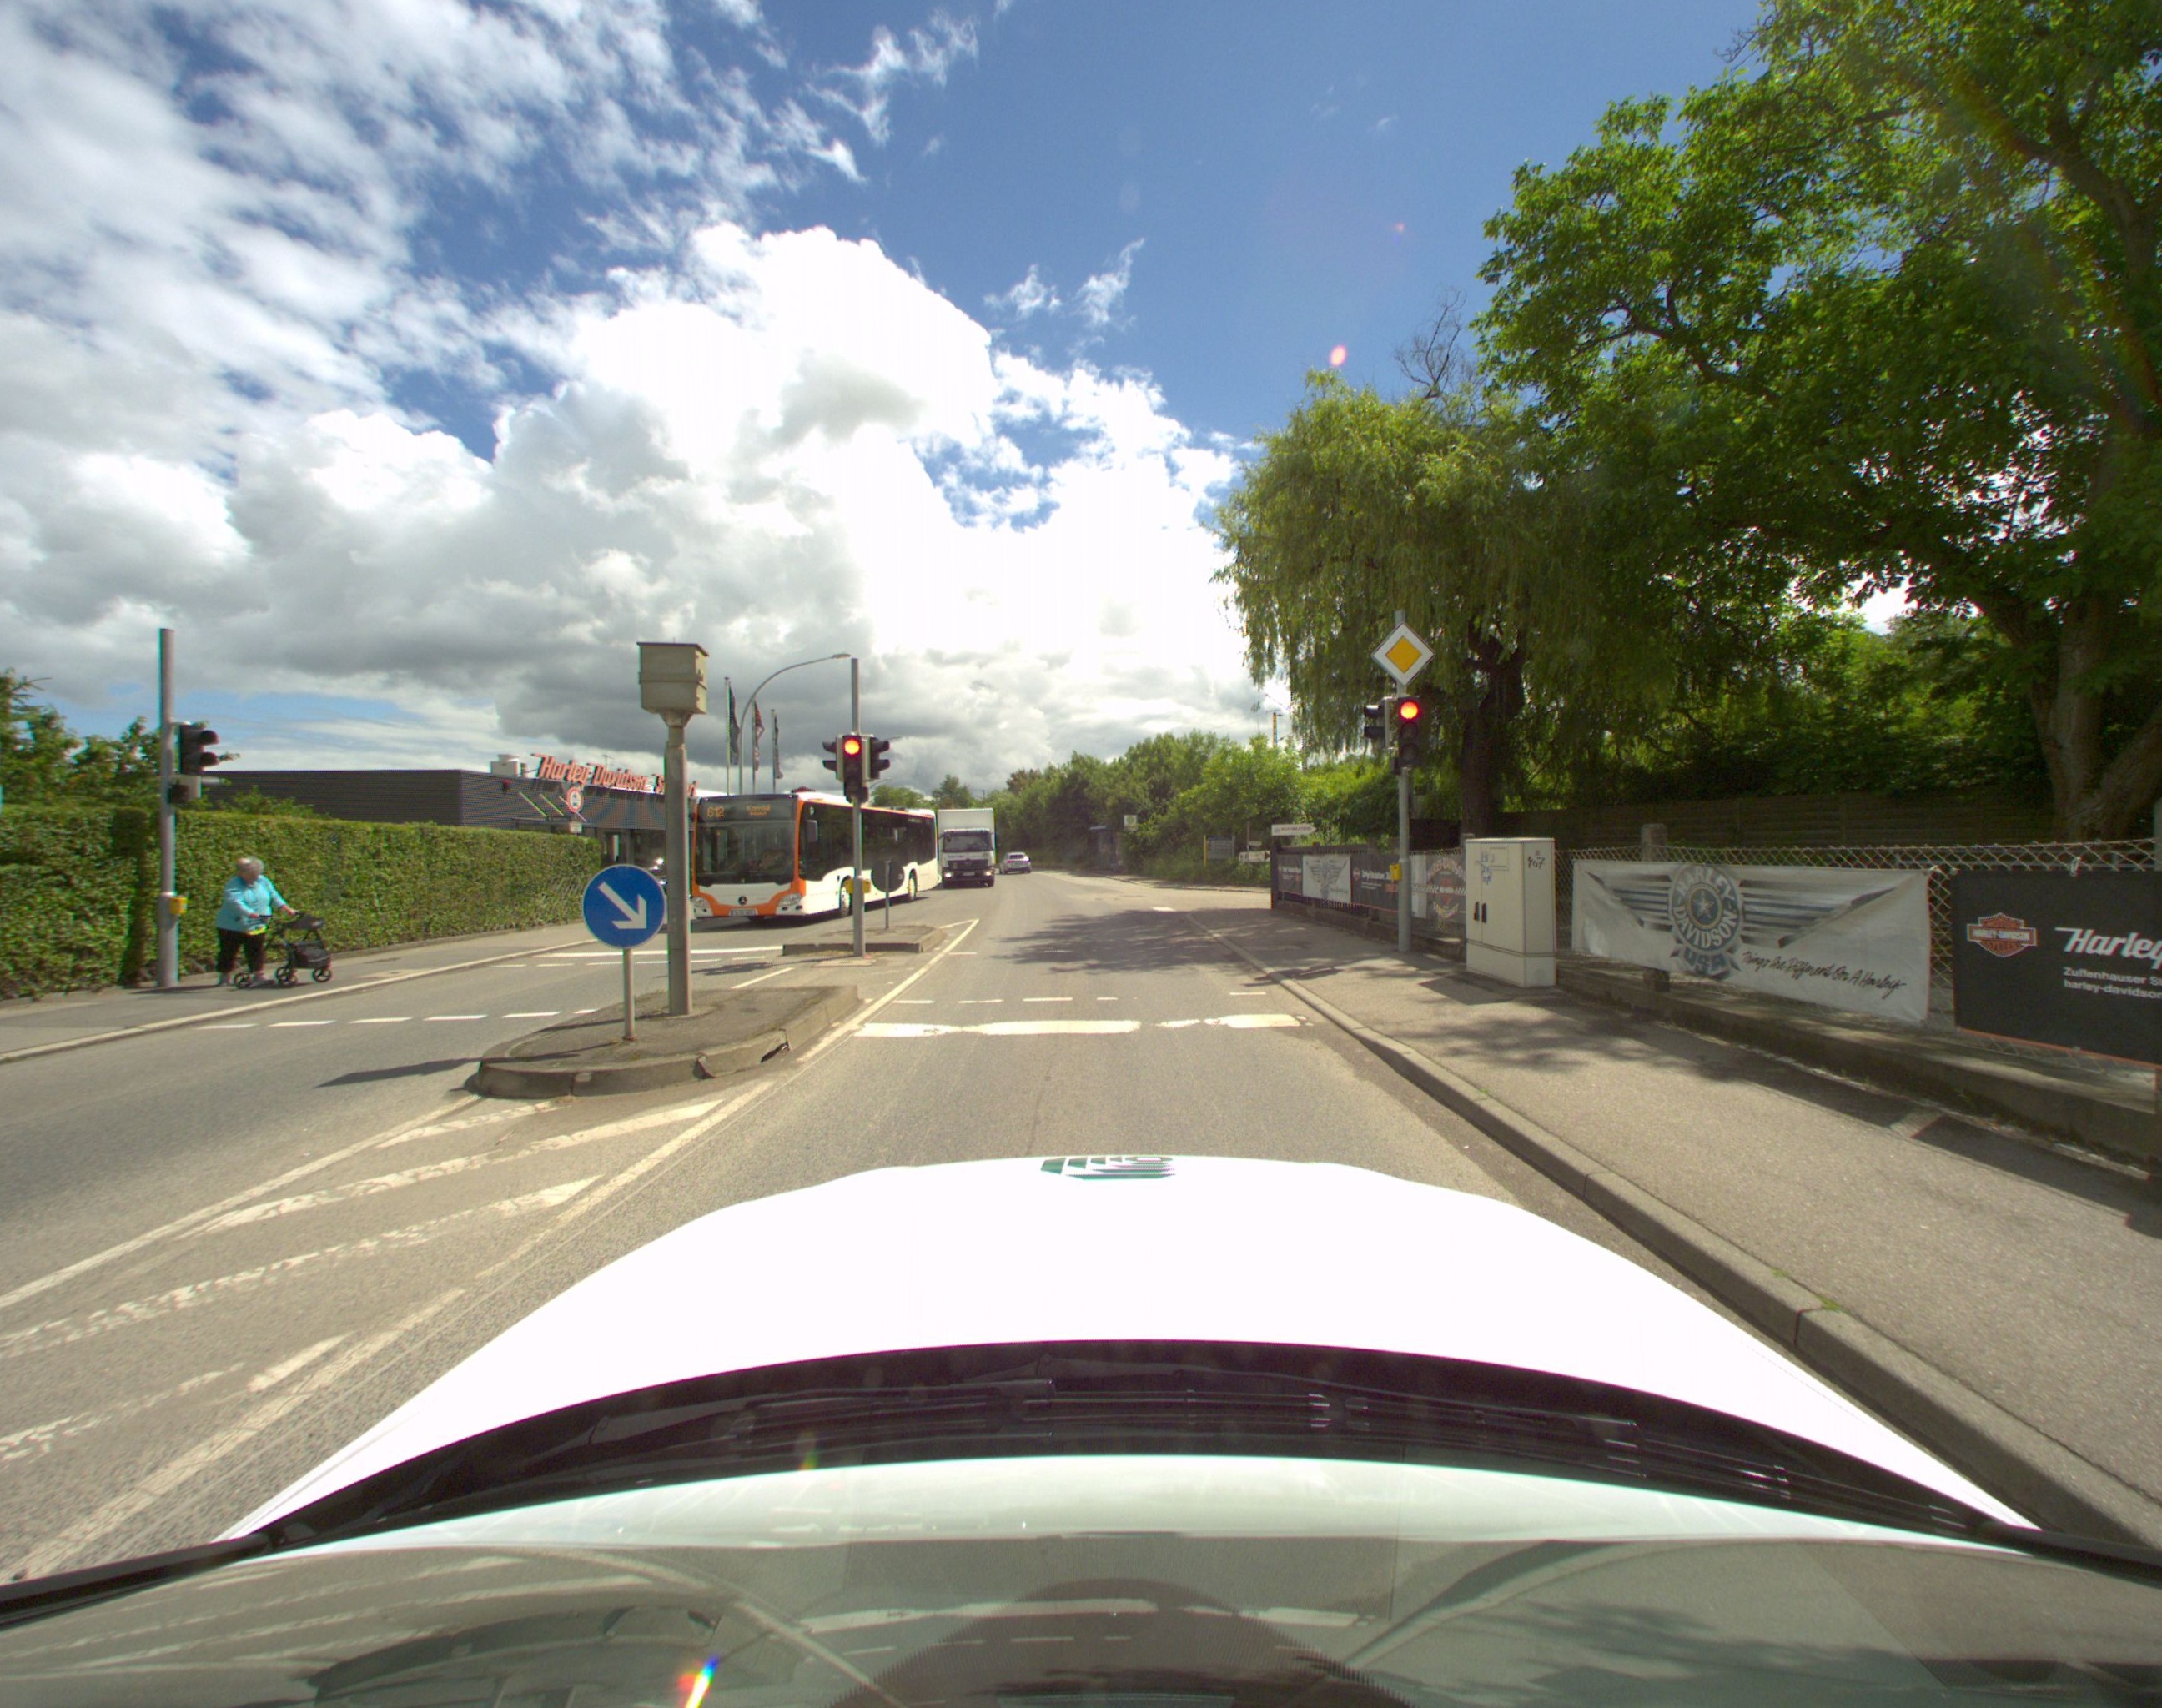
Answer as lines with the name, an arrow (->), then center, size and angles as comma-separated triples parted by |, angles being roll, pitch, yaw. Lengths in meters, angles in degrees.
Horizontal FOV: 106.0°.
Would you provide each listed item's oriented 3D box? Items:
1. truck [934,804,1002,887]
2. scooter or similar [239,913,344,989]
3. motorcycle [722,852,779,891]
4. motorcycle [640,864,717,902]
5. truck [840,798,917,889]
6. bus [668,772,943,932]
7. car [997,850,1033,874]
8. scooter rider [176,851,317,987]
truck -> -5.517, -0.377, 40.047 | 2.837, 3.540, 9.699 | -1, 0, -7
scooter or similar -> -9.528, 1.161, 9.851 | 0.609, 0.831, 0.659 | 1, 0, 0
motorcycle -> -14.755, 0.768, 36.349 | 2.282, 1.683, 1.047 | 0, -1, 23
motorcycle -> -13.692, 0.970, 27.692 | 2.478, 1.218, 0.931 | 0, -1, 22
truck -> -10.183, -0.448, 41.869 | 2.425, 4.131, 9.132 | 1, 0, -6
bus -> -6.832, -0.076, 23.170 | 2.765, 3.266, 12.137 | -2, 0, 4
car -> -4.595, 0.520, 56.150 | 1.887, 1.508, 3.982 | -1, 0, -13
scooter rider -> -10.085, 0.754, 9.875 | 0.875, 1.589, 0.796 | 0, 0, 0
